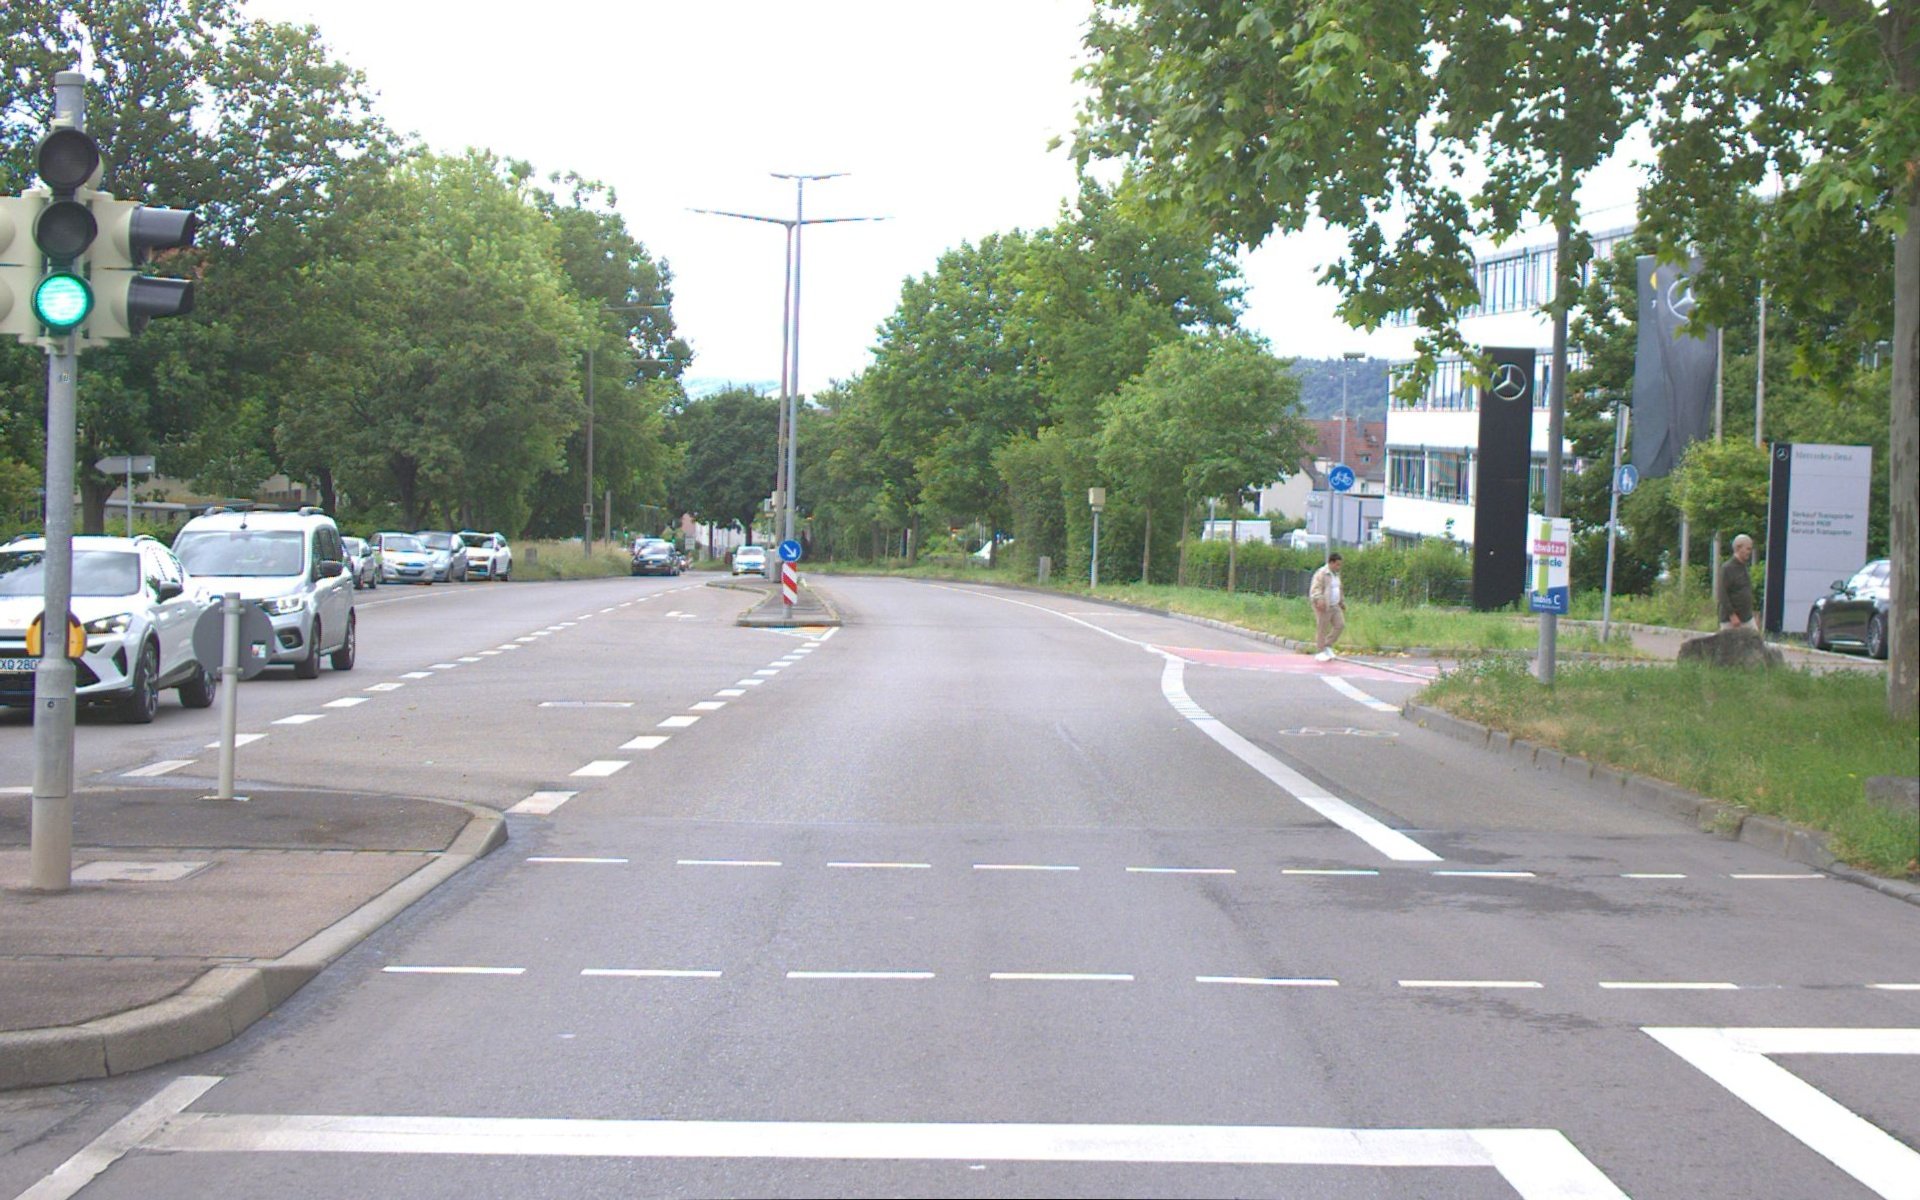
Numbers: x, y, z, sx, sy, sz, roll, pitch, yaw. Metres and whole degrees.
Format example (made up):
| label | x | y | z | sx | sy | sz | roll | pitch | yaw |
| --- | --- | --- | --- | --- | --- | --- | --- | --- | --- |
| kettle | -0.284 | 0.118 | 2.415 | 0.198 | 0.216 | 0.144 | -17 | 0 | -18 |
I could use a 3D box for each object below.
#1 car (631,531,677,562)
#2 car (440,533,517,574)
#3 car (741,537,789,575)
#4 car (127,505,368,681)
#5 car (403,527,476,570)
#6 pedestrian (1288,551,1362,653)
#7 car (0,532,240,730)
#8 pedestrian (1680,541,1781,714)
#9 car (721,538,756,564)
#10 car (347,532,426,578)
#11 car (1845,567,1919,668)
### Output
| label | x | y | z | sx | sy | sz | roll | pitch | yaw |
| --- | --- | --- | --- | --- | --- | --- | --- | --- | --- |
| car | -13.657 | -2.391 | 153.785 | 1.771 | 1.300 | 4.000 | 2 | 1 | -2 |
| car | -16.221 | -1.581 | 116.026 | 1.673 | 1.300 | 3.999 | 2 | 1 | 5 |
| car | -7.150 | -1.630 | 126.281 | 1.611 | 1.300 | 4.000 | 2 | 1 | -2 |
| car | -7.722 | -0.119 | 37.676 | 1.846 | 1.797 | 4.651 | -1 | 1 | -2 |
| car | -16.784 | -1.665 | 111.018 | 1.672 | 1.300 | 4.000 | 2 | 1 | 1 |
| pedestrian | 5.301 | 0.027 | 50.003 | 0.788 | 1.458 | 0.749 | 1 | 1 | -20 |
| car | -7.391 | 0.194 | 28.881 | 1.846 | 1.515 | 4.816 | -1 | 1 | -2 |
| pedestrian | 8.183 | 0.278 | 36.516 | 0.748 | 1.795 | 0.860 | 2 | 1 | 34 |
| car | -11.629 | -2.574 | 180.701 | 1.611 | 1.300 | 4.000 | 2 | 1 | -2 |
| car | -17.637 | -1.381 | 105.619 | 1.672 | 1.300 | 4.001 | 1 | 1 | -20 |
| car | 14.128 | 0.240 | 49.271 | 1.710 | 1.349 | 4.344 | 1 | 1 | 0 |
